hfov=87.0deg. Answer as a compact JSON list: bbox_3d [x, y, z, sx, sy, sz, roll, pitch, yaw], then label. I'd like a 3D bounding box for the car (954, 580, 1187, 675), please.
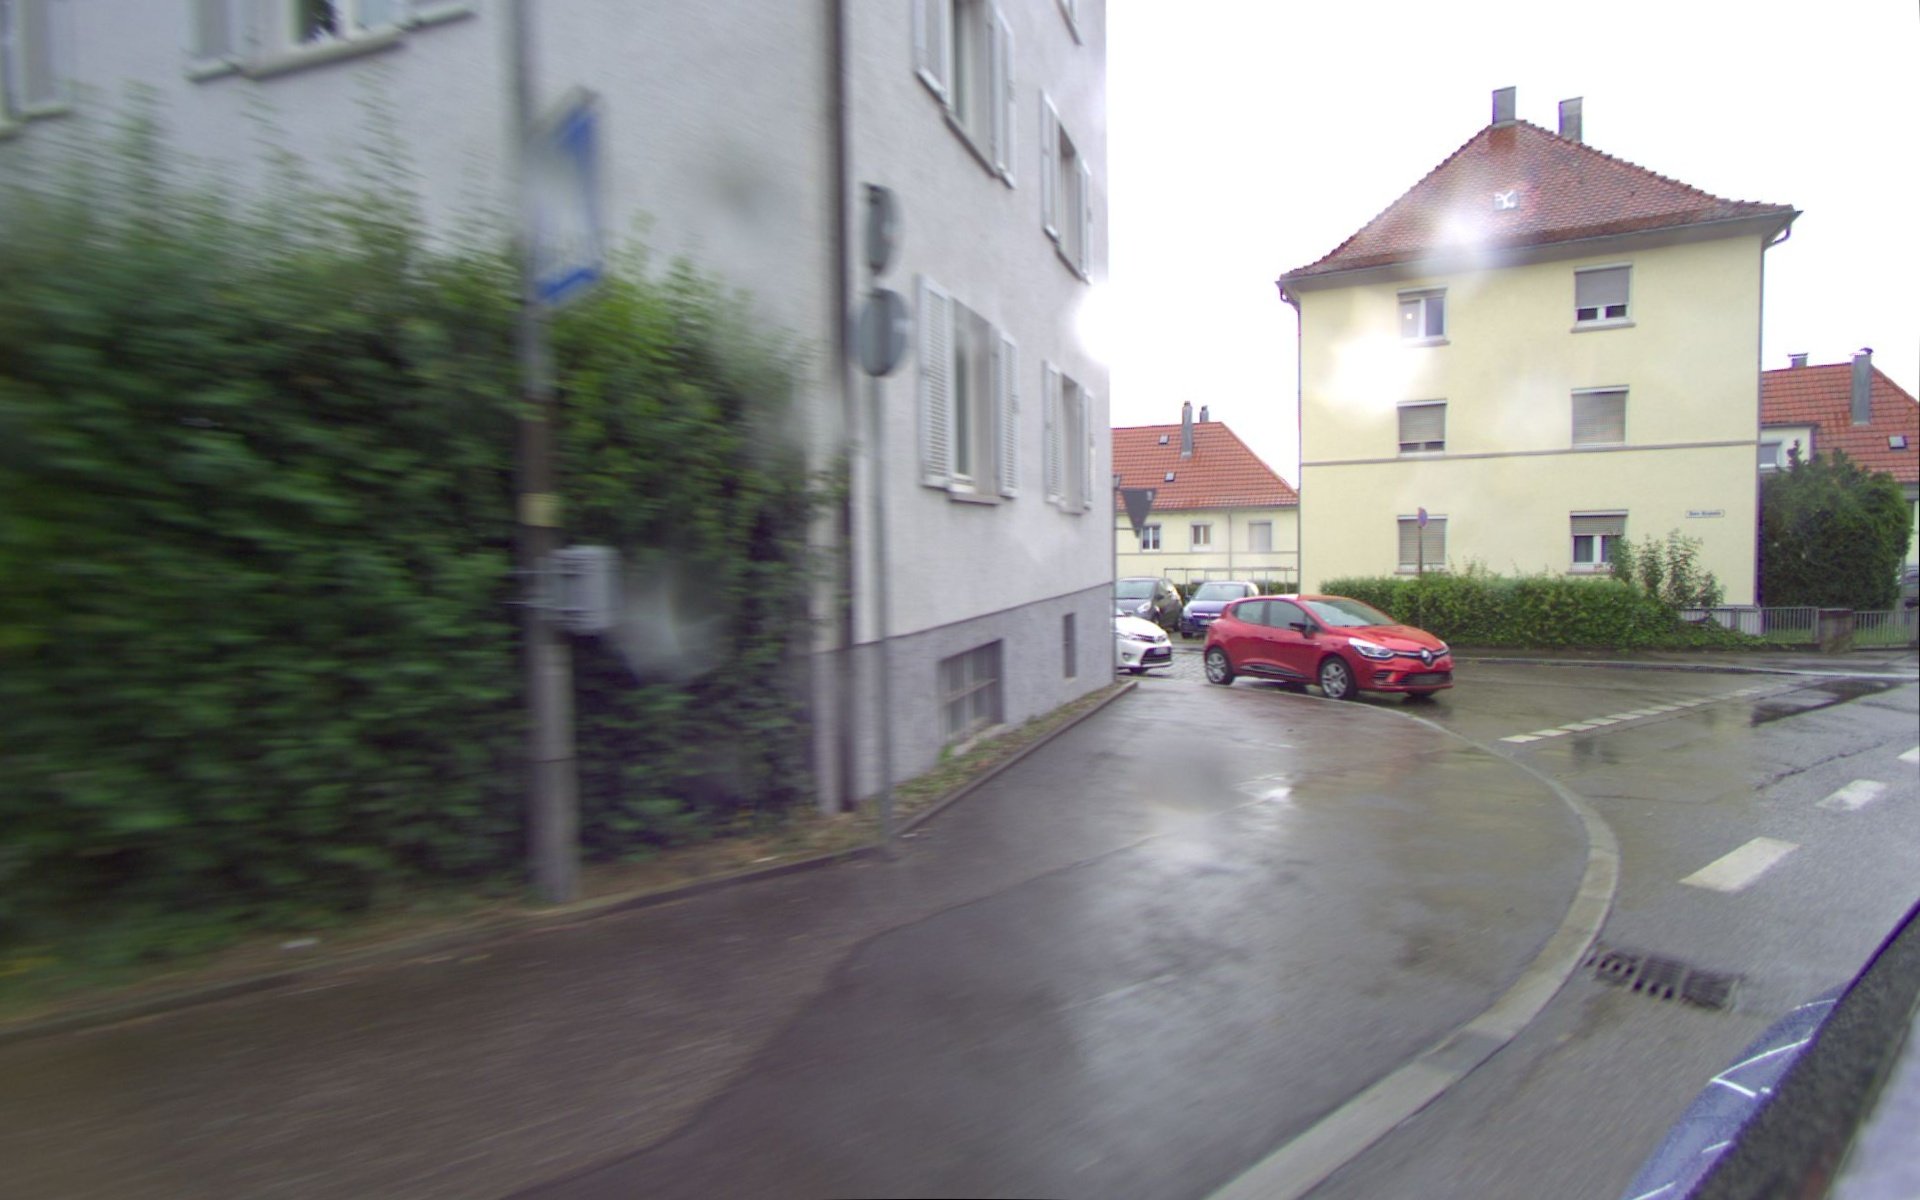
[{"bbox_3d":[2.013,0.462,19.227,4.222,1.609,1.699,0,0,41],"label":"car"}]

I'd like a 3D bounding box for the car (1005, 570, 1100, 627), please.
[{"bbox_3d":[2.730,-0.104,29.054,1.703,1.425,4.068,0,3,20],"label":"car"}]

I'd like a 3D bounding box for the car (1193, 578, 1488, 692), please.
[{"bbox_3d":[5.381,0.443,14.894,1.688,1.425,4.101,0,0,-23],"label":"car"}]

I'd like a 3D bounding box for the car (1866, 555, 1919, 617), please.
[{"bbox_3d":[30.406,-0.355,30.724,3.901,1.802,1.754,4,5,29],"label":"car"}]

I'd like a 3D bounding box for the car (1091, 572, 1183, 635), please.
[{"bbox_3d":[4.905,0.026,27.743,1.705,1.518,3.655,0,3,23],"label":"car"}]

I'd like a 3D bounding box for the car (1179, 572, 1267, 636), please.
[{"bbox_3d":[7.039,0.043,26.835,1.705,1.462,3.943,0,3,23],"label":"car"}]

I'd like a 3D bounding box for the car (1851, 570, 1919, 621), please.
[{"bbox_3d":[28.375,-0.074,29.272,3.493,1.355,1.673,4,5,27],"label":"car"}]
